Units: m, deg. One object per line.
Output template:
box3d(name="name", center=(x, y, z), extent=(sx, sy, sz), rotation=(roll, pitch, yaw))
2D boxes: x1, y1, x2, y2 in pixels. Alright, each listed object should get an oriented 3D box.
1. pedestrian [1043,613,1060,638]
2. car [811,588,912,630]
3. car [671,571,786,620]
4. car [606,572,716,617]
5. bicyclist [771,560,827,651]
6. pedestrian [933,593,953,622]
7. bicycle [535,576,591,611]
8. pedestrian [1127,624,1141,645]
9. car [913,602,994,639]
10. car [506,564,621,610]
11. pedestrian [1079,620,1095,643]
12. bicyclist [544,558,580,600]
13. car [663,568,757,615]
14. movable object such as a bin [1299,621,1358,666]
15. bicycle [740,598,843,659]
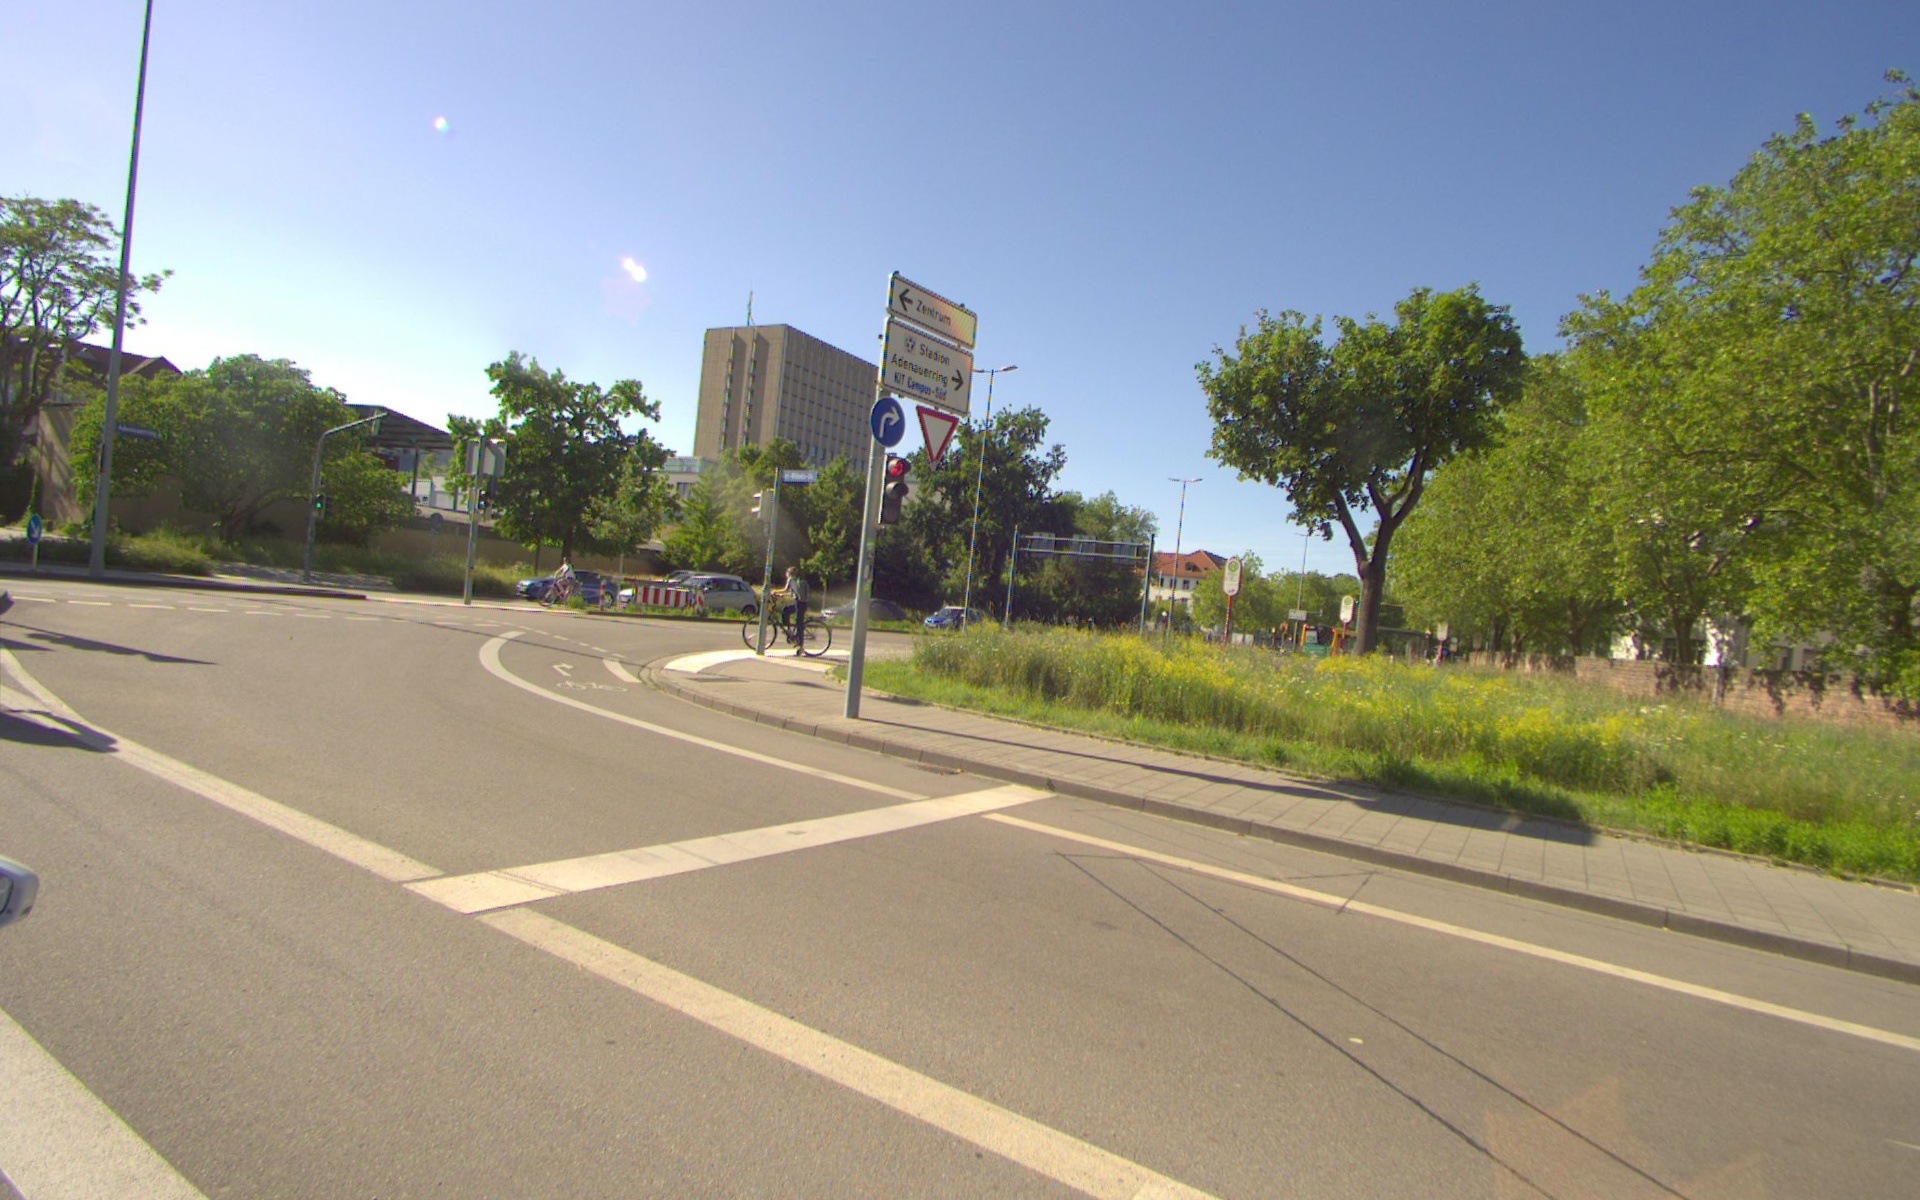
box3d(name="pedestrian", center=(7.995, 2.252, 88.257), extent=(0.752, 2.039, 1.267), rotation=(7, 1, 36))
box3d(name="car", center=(-4.309, 0.434, 44.625), extent=(1.767, 1.415, 4.557), rotation=(7, 0, 37))
box3d(name="car", center=(-8.740, -0.132, 38.284), extent=(1.767, 1.415, 3.986), rotation=(7, 0, 37))
box3d(name="car", center=(-12.300, -0.202, 41.566), extent=(1.767, 1.415, 3.986), rotation=(7, 0, 37))
box3d(name="bicyclist", center=(-3.146, 0.110, 19.682), extent=(0.898, 1.667, 0.630), rotation=(6, 1, -9))
box3d(name="pedestrian", center=(-1.302, 0.589, 76.205), extent=(0.752, 2.039, 1.267), rotation=(7, 1, 36))
box3d(name="bicycle", center=(-13.936, -0.229, 35.354), extent=(0.602, 1.046, 1.681), rotation=(7, 0, 37))
box3d(name="pedestrian", center=(17.450, 3.446, 100.833), extent=(0.752, 2.039, 1.267), rotation=(7, 1, 36))
box3d(name="car", center=(-0.295, 1.049, 50.452), extent=(1.916, 1.415, 3.986), rotation=(6, 0, 37))
box3d(name="car", center=(-16.211, -0.528, 41.313), extent=(1.767, 1.415, 3.986), rotation=(7, 0, 37))
box3d(name="pedestrian", center=(11.859, 2.941, 93.724), extent=(0.752, 2.039, 1.267), rotation=(7, 1, 36))
box3d(name="bicyclist", center=(-13.942, -0.726, 35.267), extent=(0.602, 1.360, 0.874), rotation=(7, 1, 37))
box3d(name="car", center=(-11.843, -0.369, 47.791), extent=(1.767, 1.771, 3.986), rotation=(7, 0, 37))
box3d(name="movable object such as a bin", center=(28.222, 3.398, 76.812), extent=(2.954, 2.898, 9.178), rotation=(6, 0, 27))
box3d(name="bicycle", center=(-3.287, 0.560, 19.672), extent=(1.856, 0.970, 0.635), rotation=(7, 1, -10))
